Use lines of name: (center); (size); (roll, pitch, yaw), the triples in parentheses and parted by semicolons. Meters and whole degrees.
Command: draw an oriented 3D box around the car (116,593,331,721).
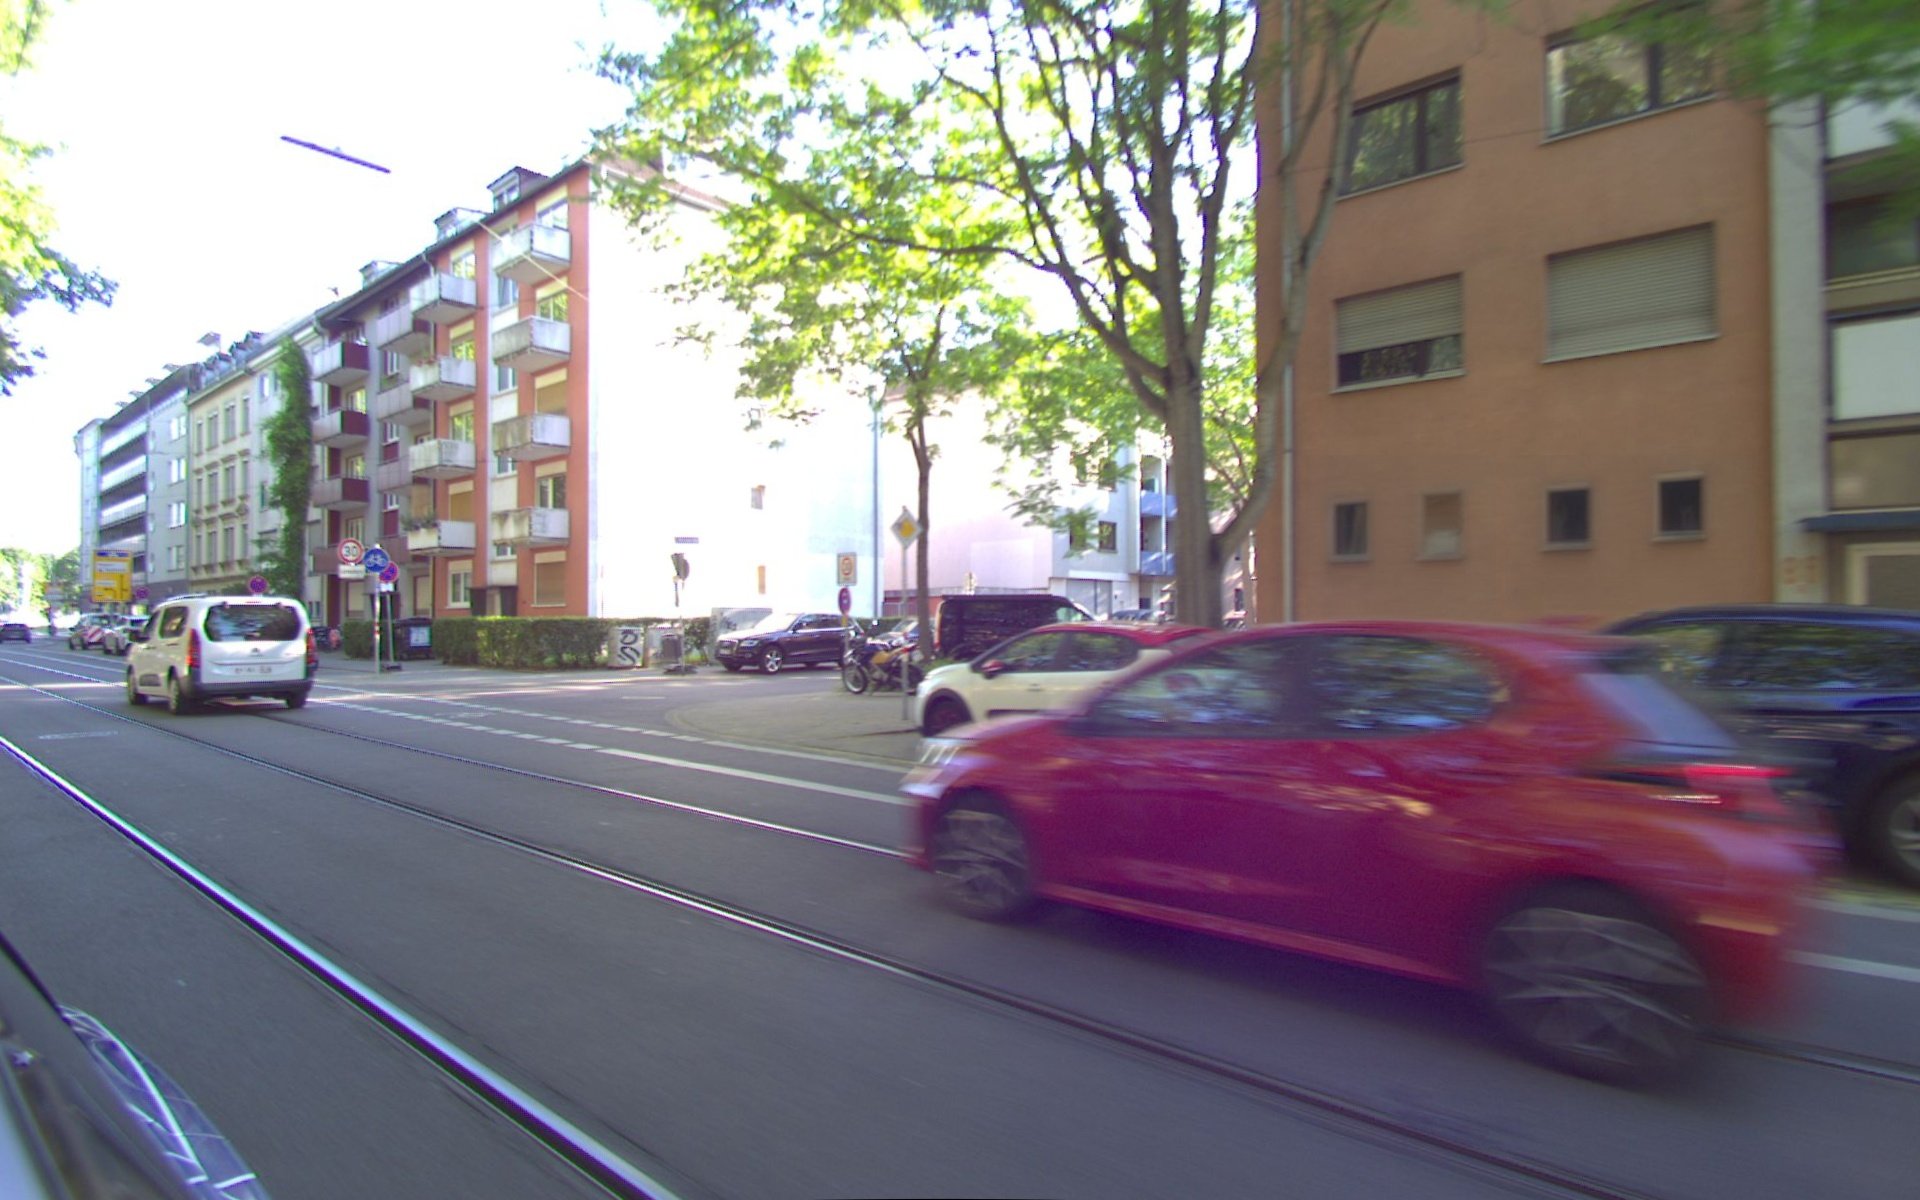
car: (-12.385, 0.870, 16.896); (4.893, 1.846, 1.872); (-1, -2, 41)

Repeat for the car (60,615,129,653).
car: (-43.442, 1.670, 50.769); (4.465, 1.784, 1.771); (-2, 0, 39)

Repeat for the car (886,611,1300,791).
car: (1.273, 0.901, 10.798); (4.089, 1.489, 1.787); (-1, 1, 42)

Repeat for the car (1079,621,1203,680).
car: (5.021, 1.368, 27.986); (3.286, 1.556, 1.627); (0, -1, 13)

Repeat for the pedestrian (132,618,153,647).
pedestrian: (-50.515, 2.001, 62.502); (0.735, 1.798, 0.856); (-1, 0, 40)

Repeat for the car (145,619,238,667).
car: (-27.734, 1.521, 36.488); (4.001, 1.599, 1.801); (-1, -1, 39)

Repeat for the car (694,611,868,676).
car: (-4.820, 1.126, 27.755); (1.937, 1.618, 4.485); (1, 0, 41)

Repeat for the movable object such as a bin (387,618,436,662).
movable object such as a bin: (-17.637, 1.279, 32.562); (0.747, 1.375, 1.198); (-1, -2, 43)

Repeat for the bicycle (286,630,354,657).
bicycle: (-26.328, 1.782, 41.679); (0.698, 1.000, 2.267); (-1, 0, 38)

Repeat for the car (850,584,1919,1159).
car: (1.581, 0.753, 4.556); (4.200, 1.469, 1.757); (-1, -3, 41)

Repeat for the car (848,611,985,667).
car: (-1.311, 1.179, 32.050); (1.937, 1.618, 4.262); (1, 0, 41)

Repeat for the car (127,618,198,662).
car: (-31.352, 1.537, 39.751); (3.781, 1.583, 1.608); (-1, 0, 43)

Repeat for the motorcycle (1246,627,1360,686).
motorcycle: (6.867, 1.106, 20.328); (2.065, 1.138, 0.687); (-1, -2, 41)

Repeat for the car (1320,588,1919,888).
car: (5.110, 0.785, 7.013); (4.585, 1.622, 1.763); (-1, 1, 41)

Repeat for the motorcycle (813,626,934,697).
motorcycle: (-1.685, 1.192, 19.447); (2.346, 1.291, 0.893); (-4, -4, 39)

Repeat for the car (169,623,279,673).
car: (-23.951, 1.513, 32.849); (4.862, 1.405, 1.931); (-1, 1, 43)

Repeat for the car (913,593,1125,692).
car: (1.413, 0.941, 23.507); (4.676, 2.139, 1.992); (0, 0, 13)

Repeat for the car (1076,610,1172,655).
car: (6.779, 1.284, 41.534); (1.915, 1.736, 4.262); (1, 0, 41)

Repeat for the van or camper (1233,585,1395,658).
van or camper: (13.350, 0.823, 38.519); (5.487, 2.649, 2.250); (0, -1, 11)

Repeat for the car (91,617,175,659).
car: (-35.426, 1.573, 43.292); (4.878, 1.661, 1.932); (-1, 0, 41)
